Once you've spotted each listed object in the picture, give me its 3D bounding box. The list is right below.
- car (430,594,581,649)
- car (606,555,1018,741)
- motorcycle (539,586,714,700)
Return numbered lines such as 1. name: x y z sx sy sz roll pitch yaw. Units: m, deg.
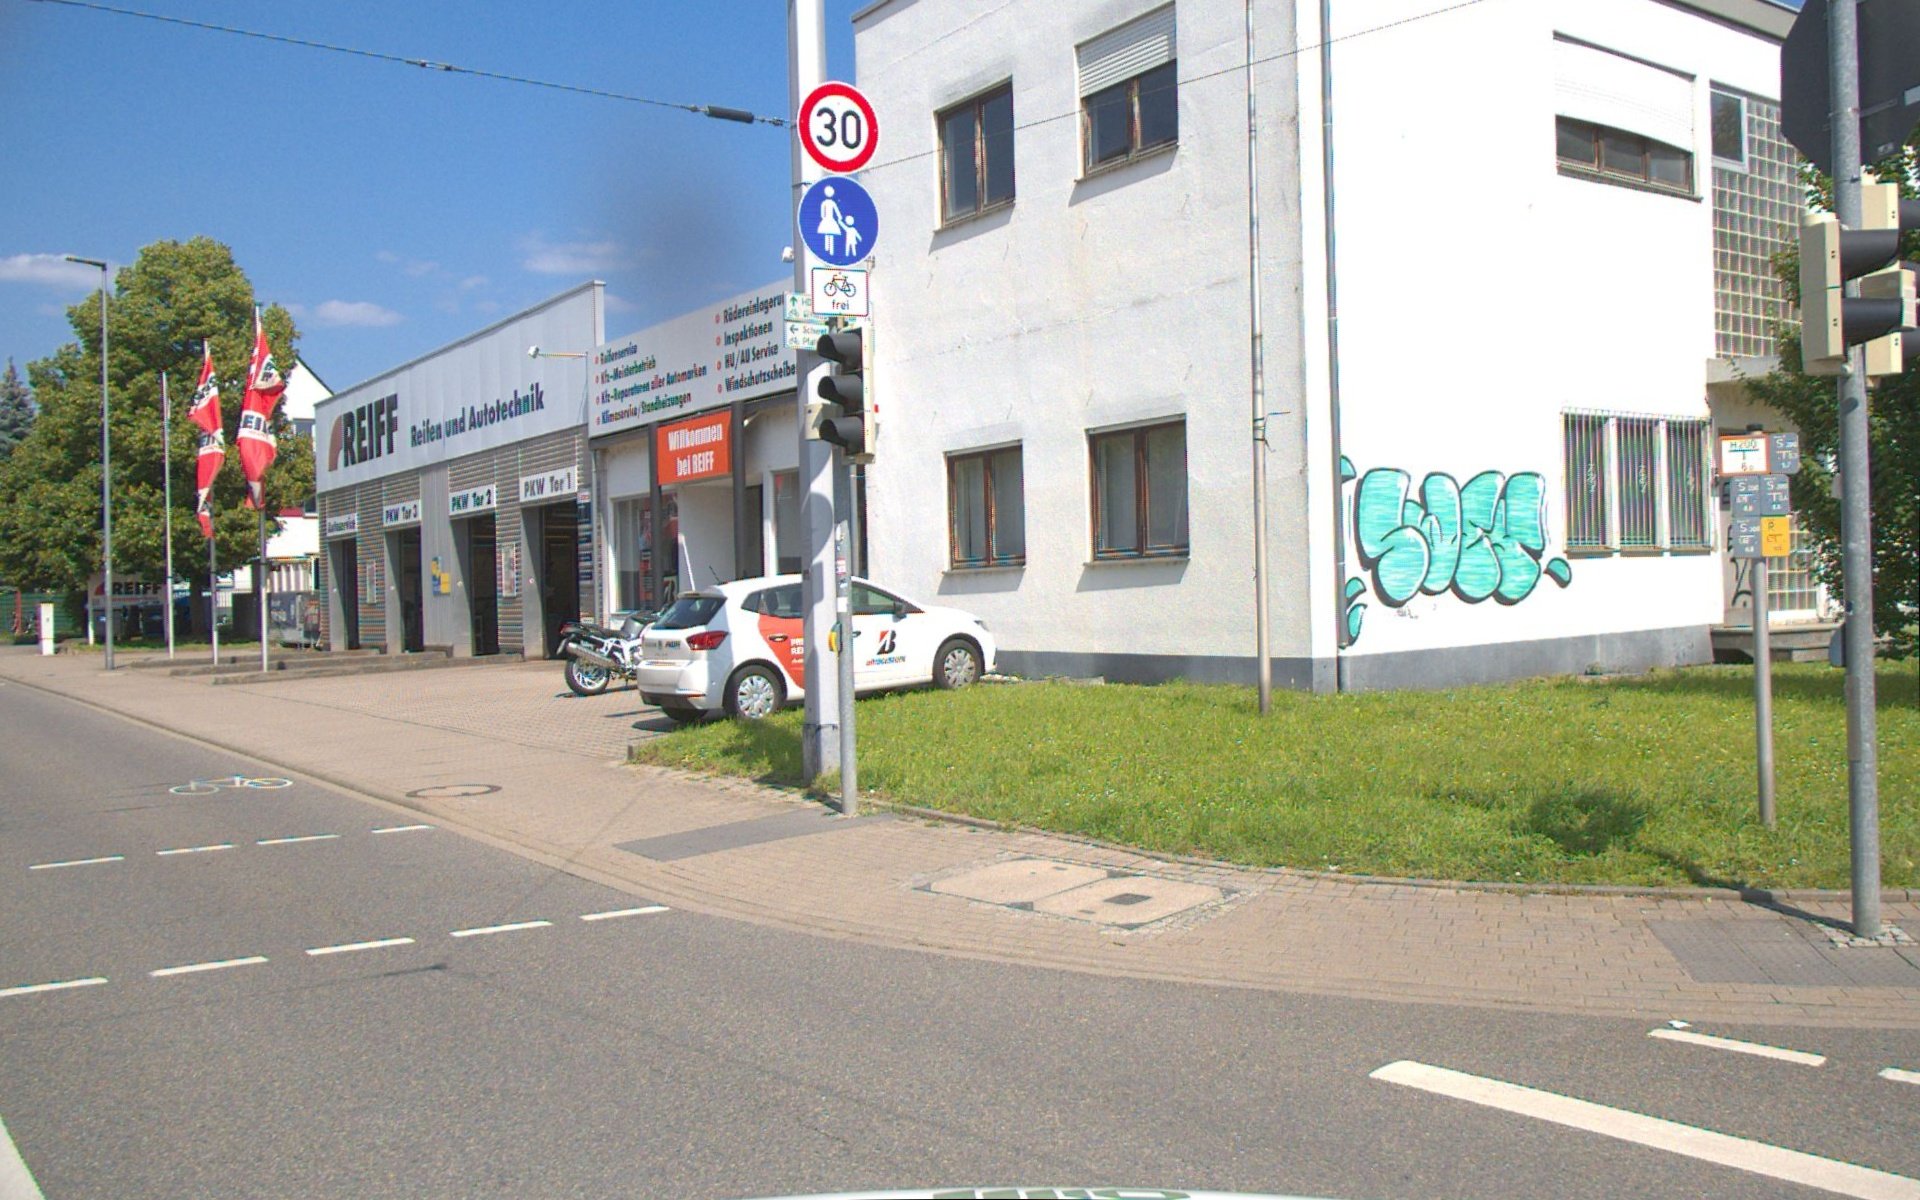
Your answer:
1. car: -12.788 0.583 46.642 3.739 1.400 1.700 -2 1 -40
2. car: -1.530 0.439 17.740 3.960 1.487 1.865 -6 3 -37
3. motorcycle: -4.538 0.567 22.608 2.168 1.331 0.721 -6 2 -37
